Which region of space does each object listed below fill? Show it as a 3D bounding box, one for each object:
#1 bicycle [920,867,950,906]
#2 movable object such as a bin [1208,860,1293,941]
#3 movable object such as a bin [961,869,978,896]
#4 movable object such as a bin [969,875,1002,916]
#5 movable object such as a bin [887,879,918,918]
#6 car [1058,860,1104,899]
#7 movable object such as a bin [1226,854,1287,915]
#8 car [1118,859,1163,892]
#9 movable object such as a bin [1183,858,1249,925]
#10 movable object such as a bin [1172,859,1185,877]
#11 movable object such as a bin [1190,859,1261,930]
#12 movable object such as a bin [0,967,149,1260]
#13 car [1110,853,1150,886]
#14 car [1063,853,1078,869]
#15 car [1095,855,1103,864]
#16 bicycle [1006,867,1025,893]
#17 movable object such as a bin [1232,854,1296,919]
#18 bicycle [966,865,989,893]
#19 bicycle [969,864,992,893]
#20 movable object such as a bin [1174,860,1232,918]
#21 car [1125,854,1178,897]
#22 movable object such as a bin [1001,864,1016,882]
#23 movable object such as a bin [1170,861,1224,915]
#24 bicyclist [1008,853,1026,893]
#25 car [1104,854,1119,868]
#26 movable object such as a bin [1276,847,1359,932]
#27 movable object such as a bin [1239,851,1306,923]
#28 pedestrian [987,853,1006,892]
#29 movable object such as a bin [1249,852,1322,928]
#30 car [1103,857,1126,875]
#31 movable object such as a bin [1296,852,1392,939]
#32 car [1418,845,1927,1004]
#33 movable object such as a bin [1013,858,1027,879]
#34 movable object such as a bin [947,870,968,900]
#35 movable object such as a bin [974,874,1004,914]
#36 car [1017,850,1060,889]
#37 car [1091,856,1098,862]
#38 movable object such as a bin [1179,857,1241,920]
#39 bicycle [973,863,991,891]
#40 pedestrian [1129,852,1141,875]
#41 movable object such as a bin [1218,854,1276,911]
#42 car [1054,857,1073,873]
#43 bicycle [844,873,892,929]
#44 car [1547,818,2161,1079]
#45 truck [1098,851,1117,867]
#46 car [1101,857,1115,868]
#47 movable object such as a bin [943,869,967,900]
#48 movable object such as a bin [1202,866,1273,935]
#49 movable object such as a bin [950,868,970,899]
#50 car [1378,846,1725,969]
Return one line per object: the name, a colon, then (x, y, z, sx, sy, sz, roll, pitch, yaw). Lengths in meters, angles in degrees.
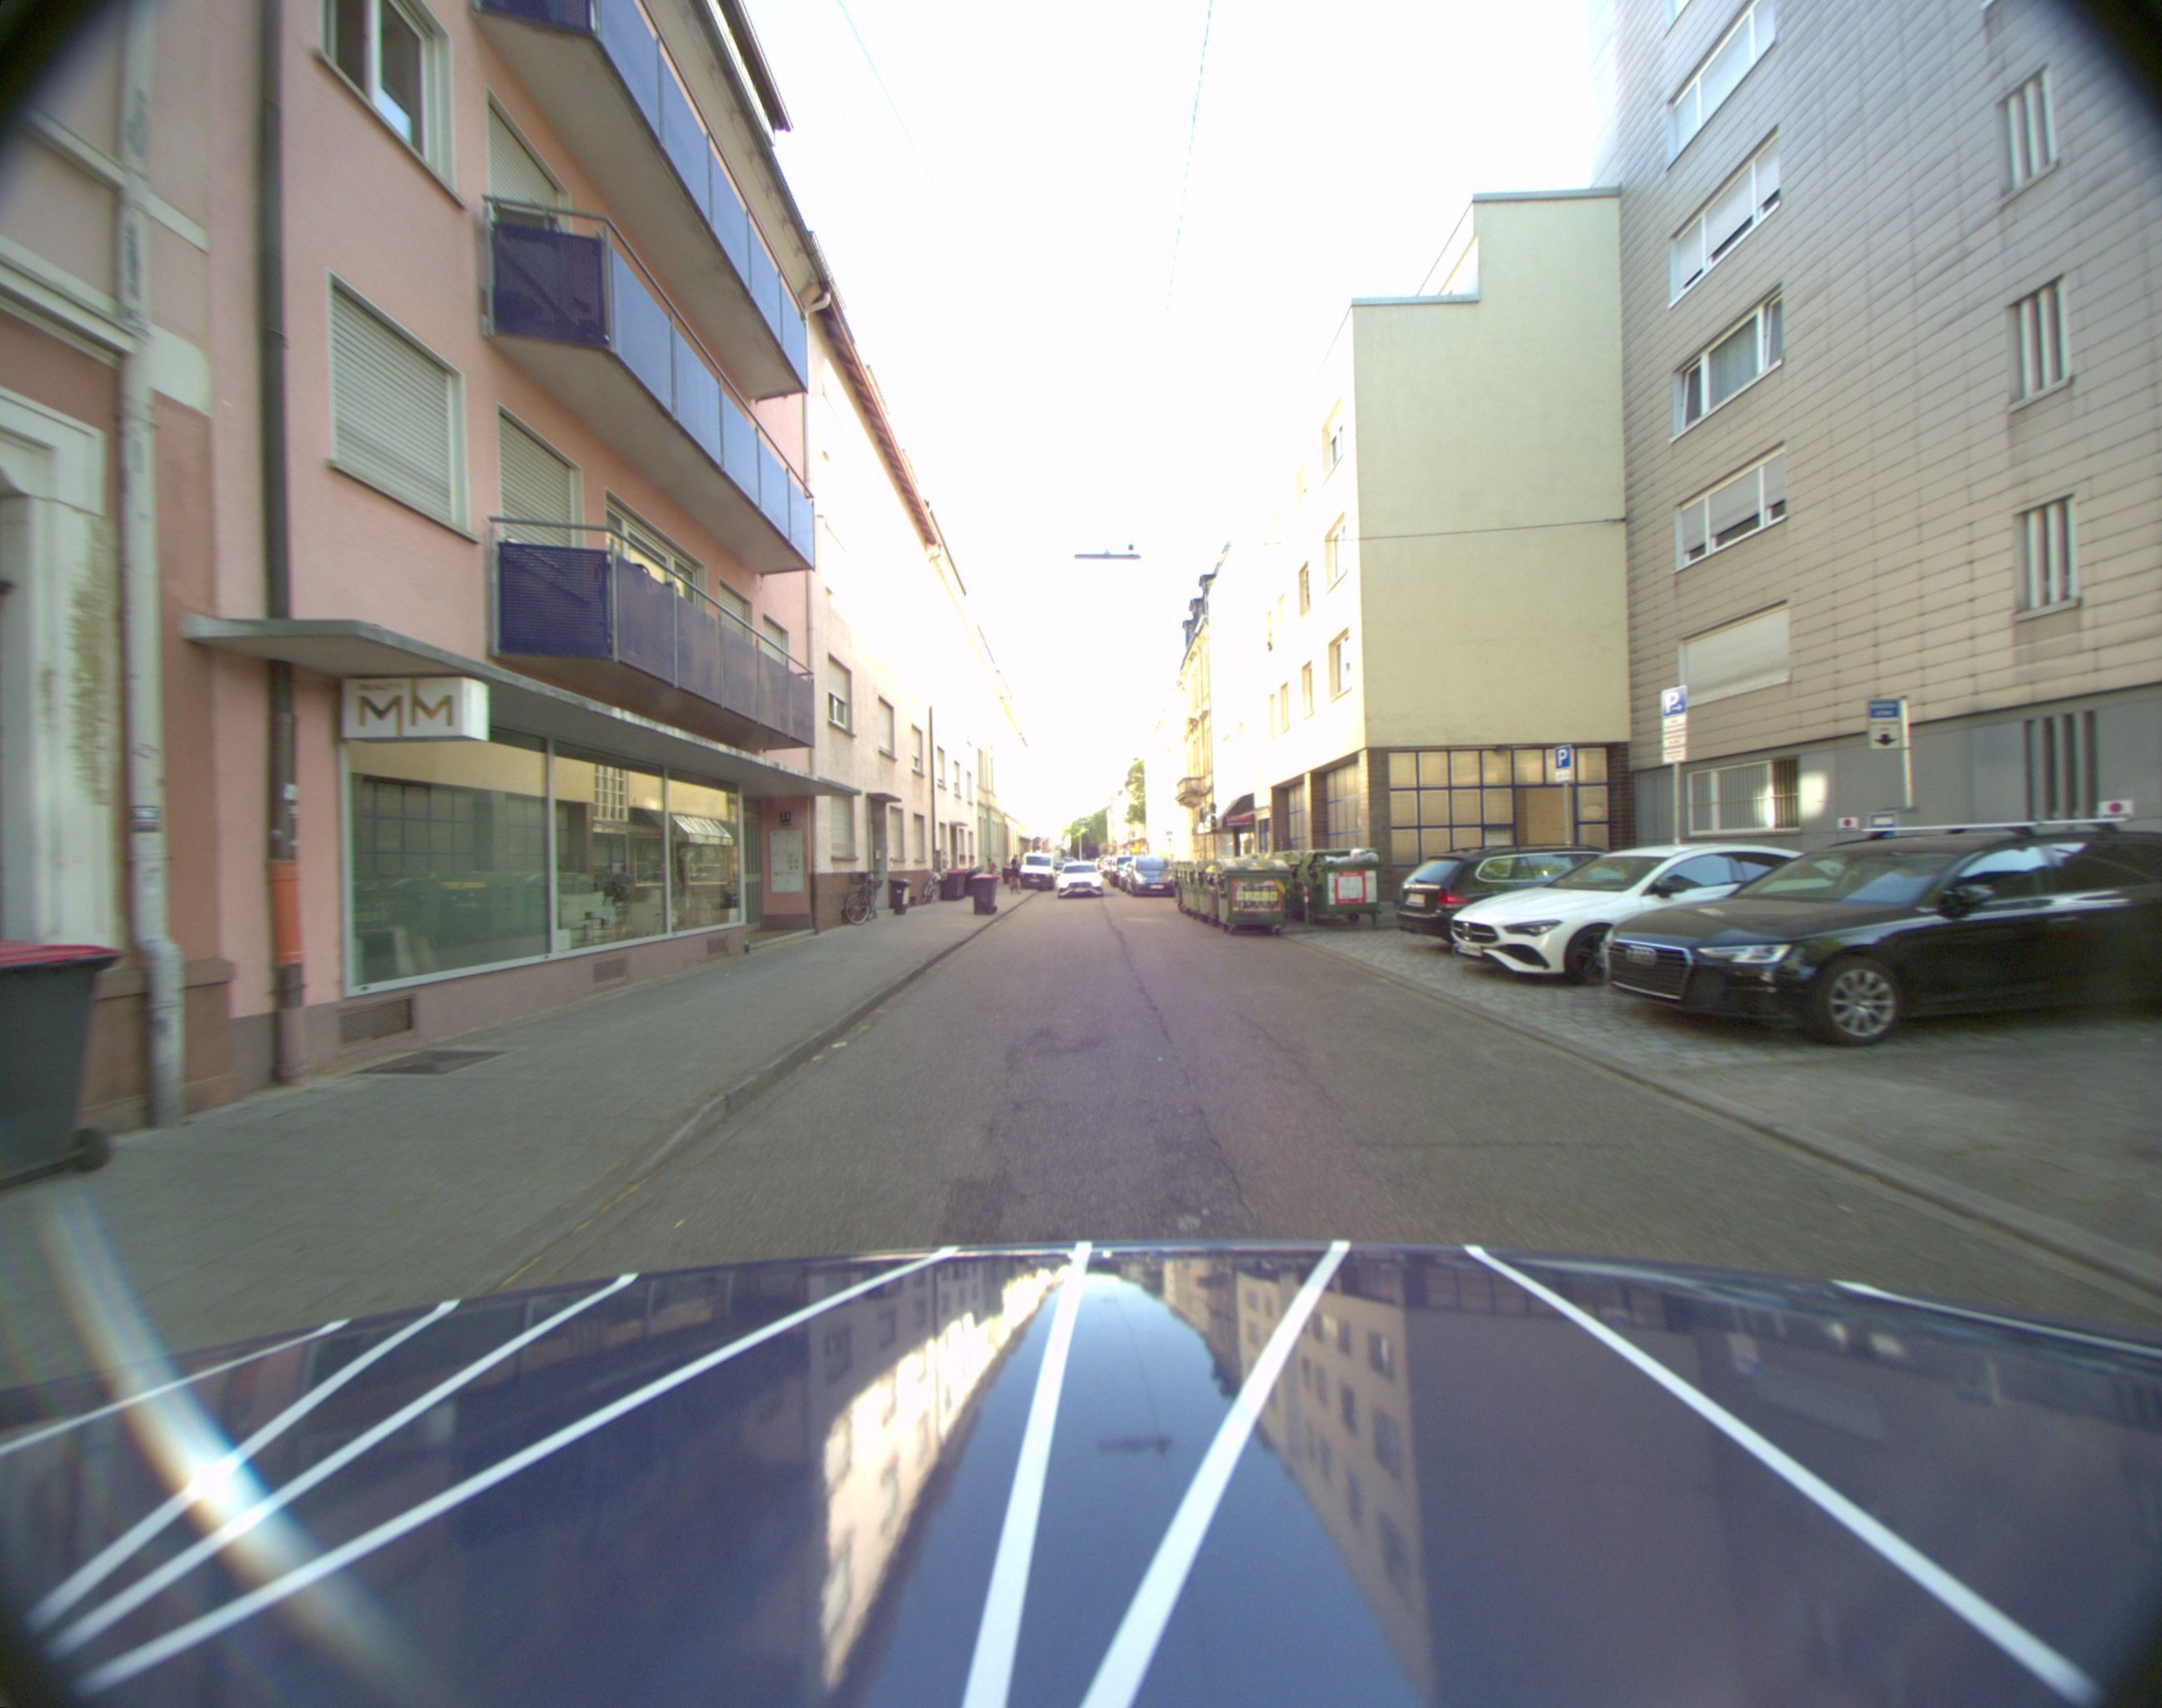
bicycle: (-4.701, 1.032, 24.600, 0.538, 1.163, 2.076, 3, 0, 0)
movable object such as a bin: (3.249, 0.862, 14.692, 1.304, 1.442, 1.117, -2, 1, -3)
movable object such as a bin: (-4.583, 1.174, 31.339, 0.617, 1.056, 0.603, 0, 0, 0)
movable object such as a bin: (-2.586, 1.121, 20.678, 0.770, 1.080, 0.693, -1, 1, 1)
movable object such as a bin: (-4.621, 1.141, 19.721, 0.599, 0.946, 0.682, -1, 1, 1)
car: (0.013, 1.000, 31.591, 1.761, 1.399, 4.021, -1, 1, 1)
movable object such as a bin: (4.594, 0.781, 20.032, 1.309, 1.490, 1.157, -2, 1, 0)
car: (2.798, 0.990, 36.829, 1.850, 1.409, 4.817, 0, 1, 0)
movable object such as a bin: (3.172, 0.866, 17.951, 1.346, 1.490, 1.018, -2, 1, 0)
movable object such as a bin: (6.250, 0.888, 48.581, 0.721, 1.125, 0.584, -1, 1, -3)
movable object such as a bin: (3.184, 0.876, 16.883, 1.338, 1.482, 1.082, -2, 1, 0)
movable object such as a bin: (-4.708, 1.083, 3.171, 0.731, 1.097, 0.693, -1, 1, -2)
car: (2.682, 0.818, 42.627, 1.941, 1.726, 5.142, 0, 0, 0)
car: (-1.460, 0.993, 104.691, 1.975, 2.017, 4.899, -3, 0, -1)
car: (4.146, 1.251, 175.152, 1.585, 1.971, 4.068, -1, 1, 1)
bicycle: (-2.889, 1.131, 33.708, 0.665, 1.130, 1.988, 2, -1, -2)
movable object such as a bin: (4.538, 0.794, 18.955, 1.305, 1.514, 1.018, -2, 1, 0)
bicycle: (-4.495, 1.087, 33.215, 0.570, 1.147, 1.868, -1, 1, 5)
bicycle: (-4.500, 1.067, 34.304, 0.438, 1.199, 2.267, -1, 1, 7)
movable object such as a bin: (3.196, 0.900, 20.032, 1.337, 1.476, 1.093, 0, 1, 0)
car: (2.847, 0.835, 31.446, 1.787, 1.657, 4.670, 0, 0, 0)
movable object such as a bin: (-4.427, 1.140, 46.469, 0.814, 1.082, 0.674, -1, 1, 2)
movable object such as a bin: (3.206, 0.923, 21.206, 1.323, 1.442, 1.187, 0, 1, 0)
bicyclist: (-2.862, 0.857, 34.006, 0.762, 1.760, 0.822, 1, -1, -2)
car: (3.980, 0.924, 100.190, 1.771, 1.887, 4.809, 0, 0, -1)
movable object such as a bin: (4.834, 0.698, 15.616, 1.231, 1.643, 1.173, -2, 1, -6)
movable object such as a bin: (4.505, 0.753, 17.952, 1.297, 1.611, 1.018, -2, 1, 0)
pedestrian: (-3.801, 0.827, 34.212, 0.656, 1.701, 0.687, -1, 1, 12)
movable object such as a bin: (4.516, 0.770, 16.888, 1.292, 1.595, 1.082, -2, 1, 0)
car: (2.797, 0.994, 64.569, 1.718, 1.479, 4.852, 1, 0, 0)
movable object such as a bin: (4.969, 0.755, 14.458, 1.357, 1.540, 1.120, -2, 1, -6)
car: (6.539, 0.720, 8.801, 4.353, 1.417, 1.957, -3, 1, -1)
movable object such as a bin: (-4.294, 1.018, 53.732, 0.839, 1.382, 1.296, 1, 2, -1)
movable object such as a bin: (-4.552, 1.133, 27.989, 0.658, 1.098, 0.593, -1, 0, 1)
movable object such as a bin: (-2.589, 1.120, 21.391, 0.734, 1.074, 0.703, -1, 1, 1)
car: (-2.237, 0.796, 41.417, 1.988, 1.872, 5.599, 2, 0, 0)
car: (3.548, 1.356, 204.800, 1.786, 1.674, 4.021, -1, 1, 1)
movable object such as a bin: (3.196, 0.853, 18.987, 1.352, 1.478, 1.003, -2, 1, 0)
bicycle: (-4.613, 1.057, 35.640, 0.406, 1.199, 2.160, -1, 1, 4)
pedestrian: (4.427, 0.766, 62.505, 0.913, 1.822, 1.245, -1, 1, 0)
movable object such as a bin: (4.609, 0.772, 21.190, 1.300, 1.489, 1.178, -2, 1, 0)
car: (-1.845, 1.120, 79.738, 1.805, 1.570, 4.897, -2, 0, 0)
bicycle: (-4.726, 1.012, 16.981, 0.454, 1.127, 1.920, 1, 0, 2)
car: (6.676, 0.627, 6.269, 4.477, 1.600, 1.915, -3, 1, -2)
truck: (4.082, 0.752, 117.557, 2.171, 2.295, 6.344, 0, 1, -5)
car: (3.767, 1.178, 106.193, 1.669, 1.514, 4.489, 0, -1, -1)
movable object such as a bin: (-4.542, 1.093, 27.393, 0.740, 1.091, 0.640, 1, 1, 1)
movable object such as a bin: (3.228, 0.943, 15.792, 1.244, 1.314, 1.045, -2, 1, 0)
movable object such as a bin: (-4.535, 1.102, 28.550, 0.629, 1.116, 0.569, -1, 1, 1)
car: (6.616, 0.708, 11.015, 3.885, 1.496, 1.826, -2, 1, -1)
